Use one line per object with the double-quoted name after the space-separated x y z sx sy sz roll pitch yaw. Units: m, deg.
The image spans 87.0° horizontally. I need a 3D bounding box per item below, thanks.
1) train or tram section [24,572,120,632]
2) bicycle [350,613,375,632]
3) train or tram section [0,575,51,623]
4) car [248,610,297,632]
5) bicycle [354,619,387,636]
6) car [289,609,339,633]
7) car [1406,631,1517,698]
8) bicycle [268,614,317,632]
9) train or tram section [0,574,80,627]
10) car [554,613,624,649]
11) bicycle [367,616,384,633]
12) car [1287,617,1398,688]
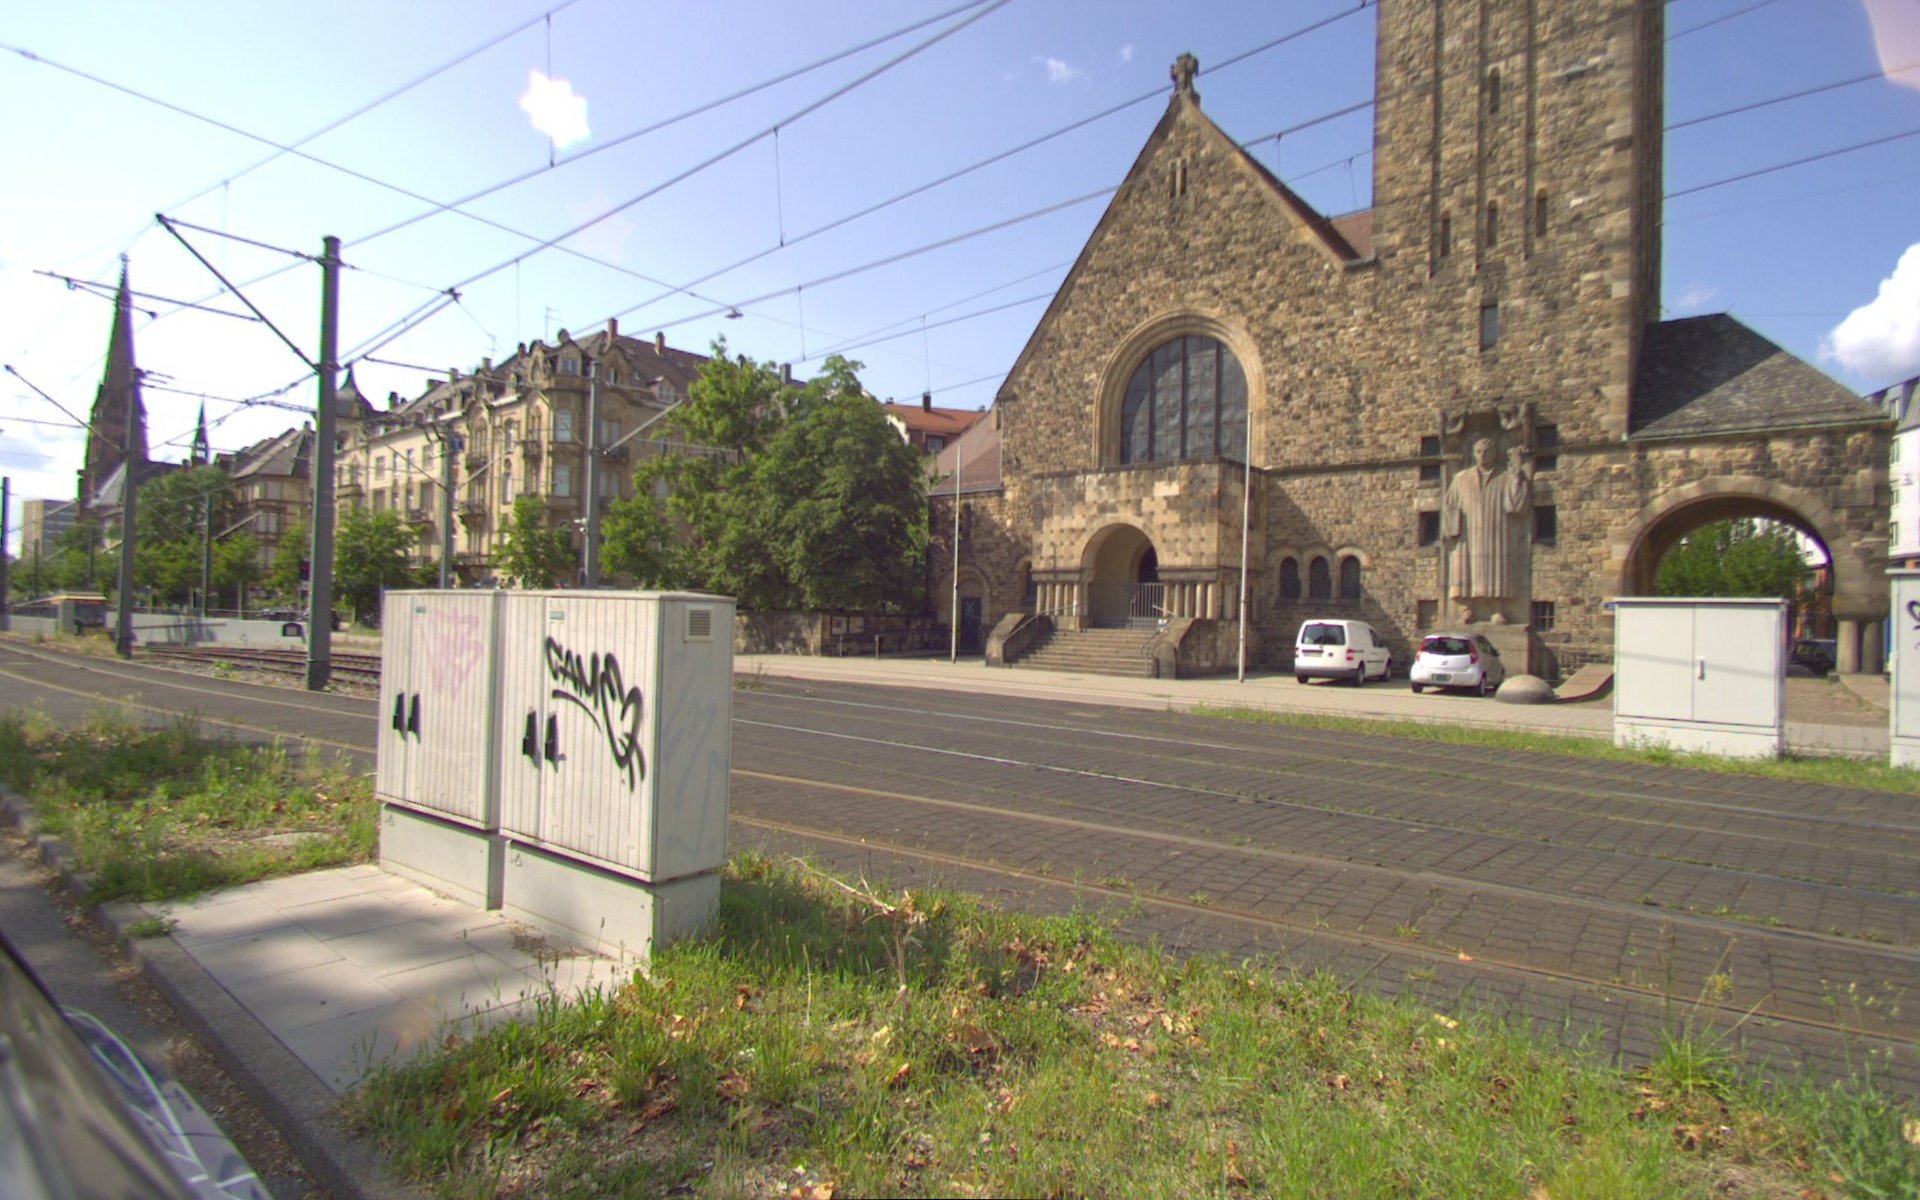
-58.417 0.129 66.387 12.827 3.607 2.824 0 -2 41 "train or tram section"
-42.791 1.608 72.485 2.942 1.258 0.651 0 1 42 "bicycle"
-77.821 -0.066 83.197 12.827 3.607 2.824 0 -2 41 "train or tram section"
-51.520 1.525 75.804 4.483 1.538 1.781 0 0 38 "car"
-36.960 1.734 63.443 0.470 1.077 1.690 0 -2 35 "bicycle"
-44.106 1.418 69.067 4.707 1.514 1.668 0 -2 42 "car"
13.227 1.653 26.602 1.796 1.558 3.728 1 -2 40 "car"
-48.631 1.693 73.764 0.789 1.256 2.927 0 -2 28 "bicycle"
-68.162 0.048 74.765 12.827 3.607 2.824 0 -2 41 "train or tram section"
-16.675 1.362 45.395 1.647 1.427 3.850 5 -3 -40 "car"
-40.724 1.685 70.511 2.022 1.148 0.423 0 1 42 "bicycle"
11.107 1.482 29.243 1.861 1.837 3.963 1 -2 38 "car"
